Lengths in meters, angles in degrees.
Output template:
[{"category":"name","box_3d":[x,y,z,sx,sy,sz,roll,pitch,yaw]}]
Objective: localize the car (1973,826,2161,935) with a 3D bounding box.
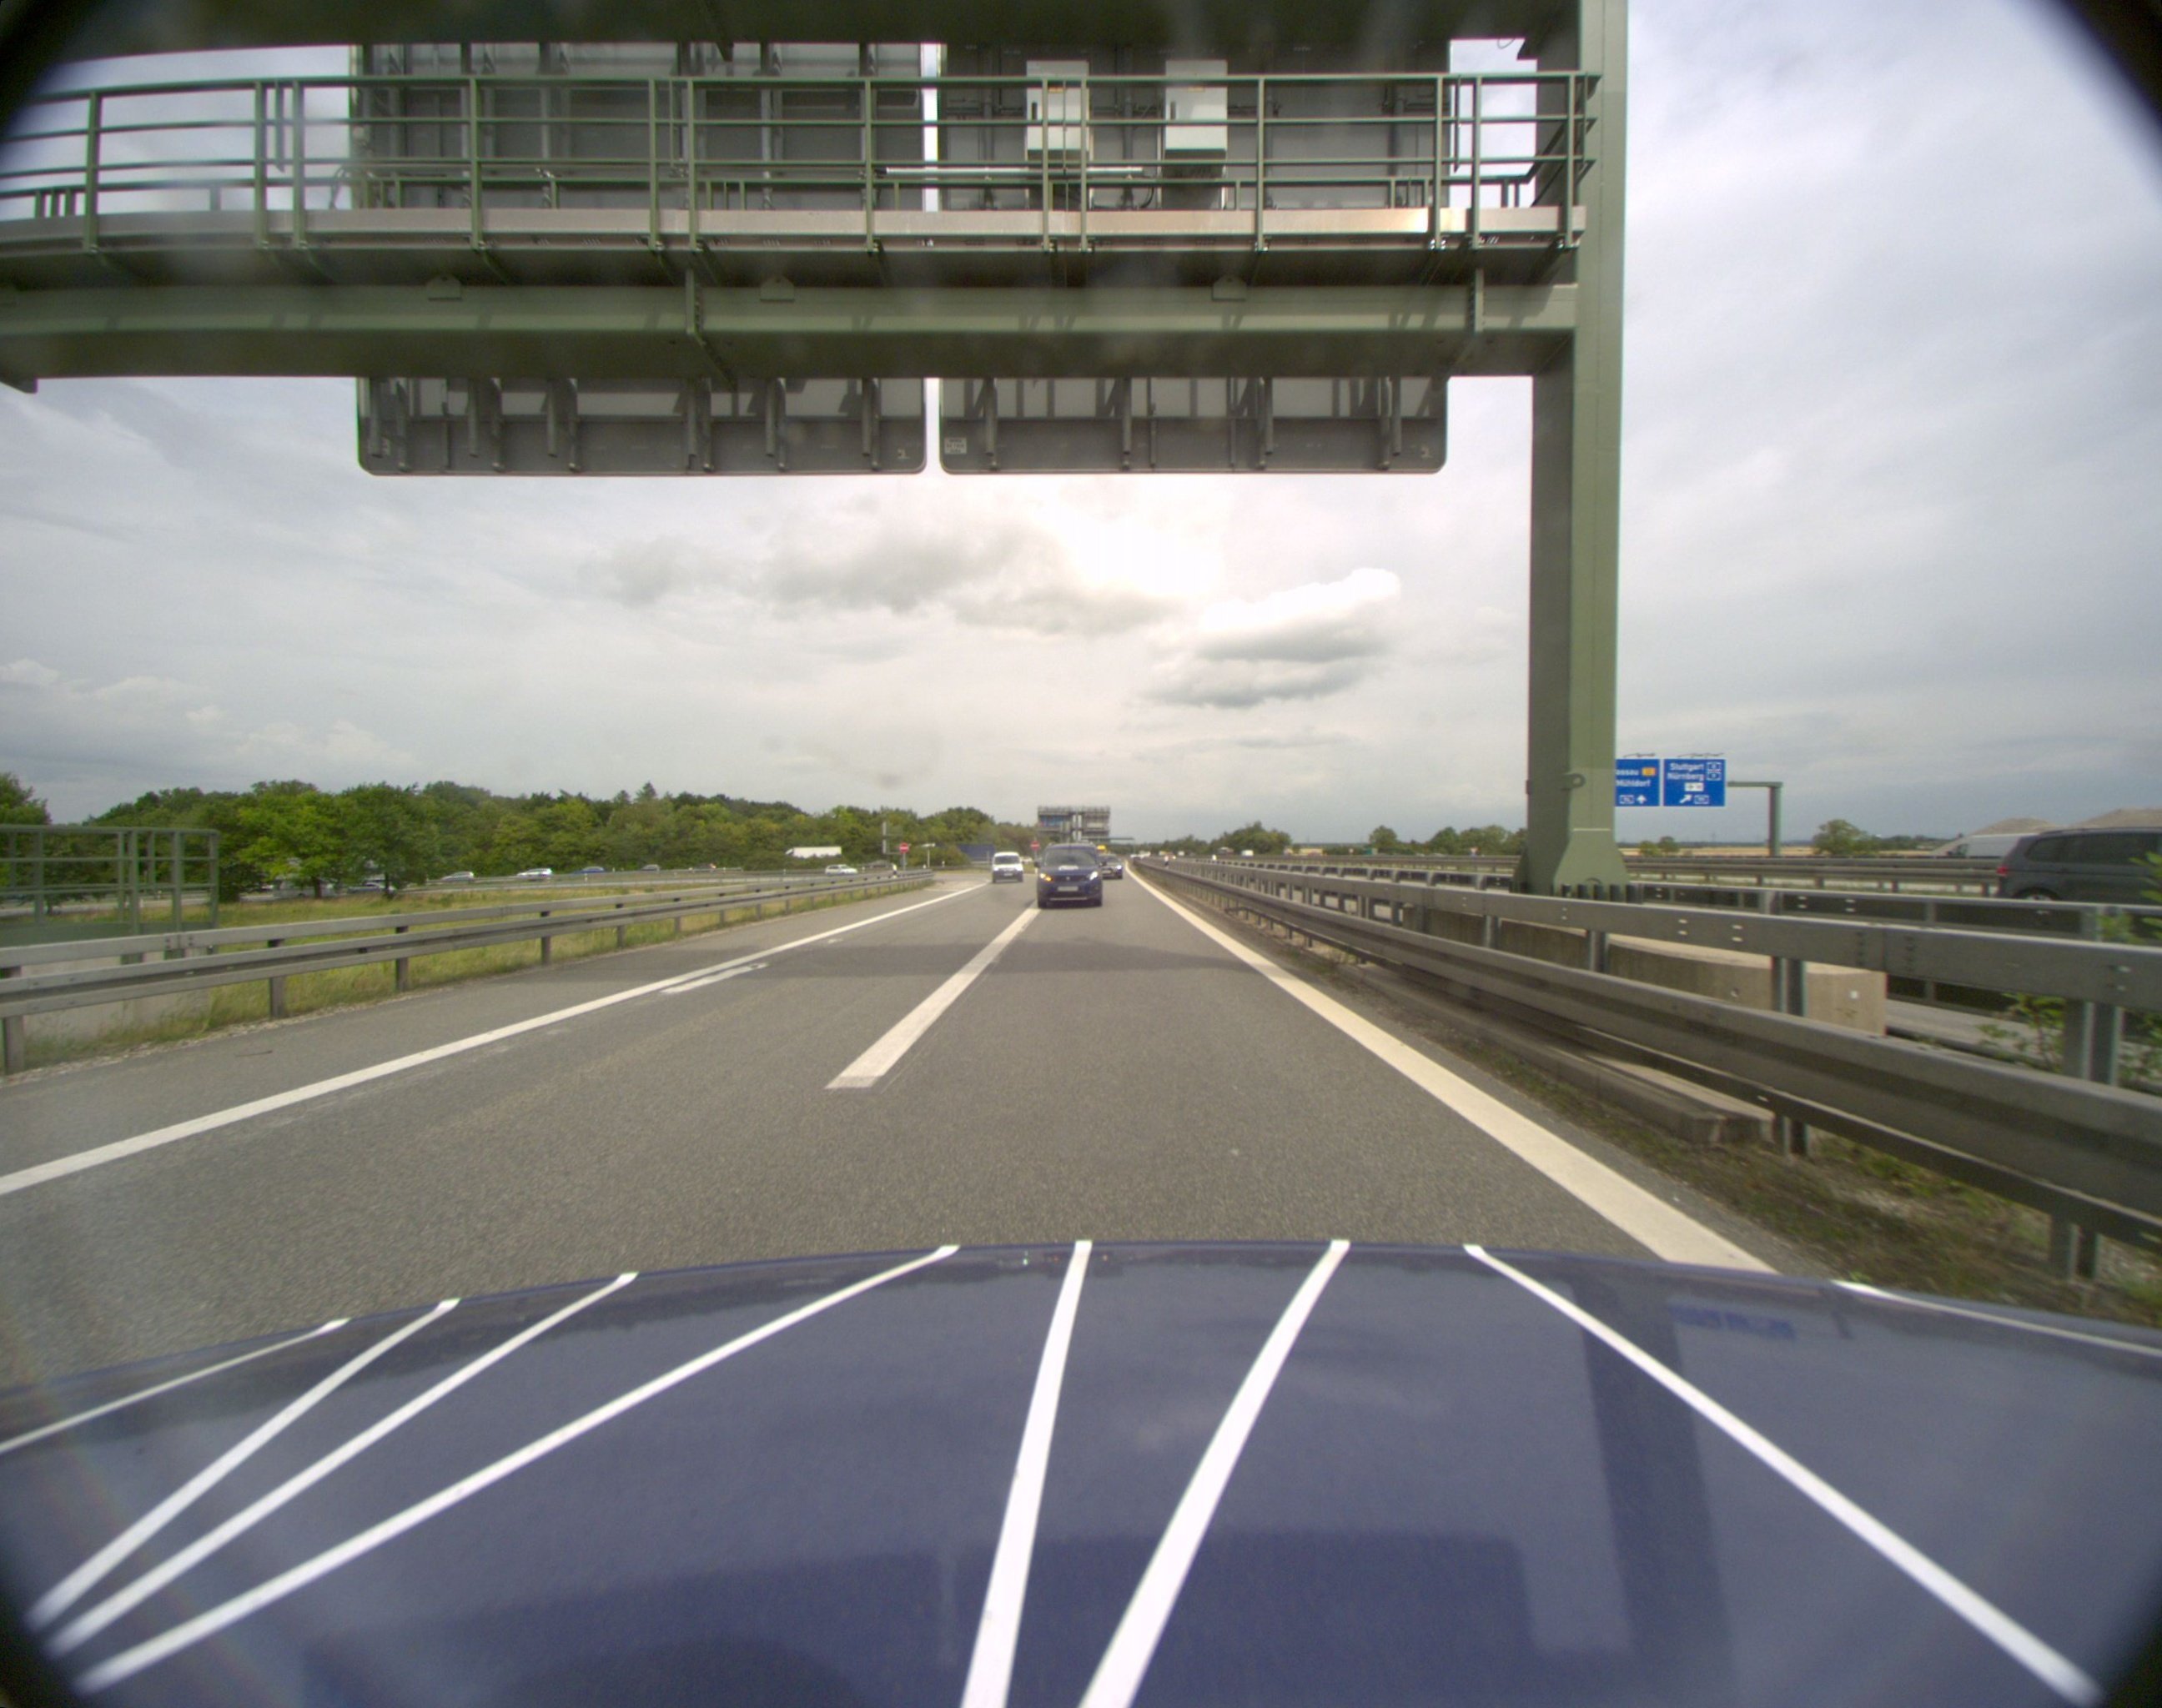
[{"category":"car","box_3d":[16.371,0.360,10.832,1.885,1.537,4.614,-2,1,0]}]

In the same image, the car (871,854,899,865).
[{"category":"car","box_3d":[-31.749,0.895,123.078,4.005,1.540,1.734,-2,1,-28]}]

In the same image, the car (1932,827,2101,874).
[{"category":"car","box_3d":[49.425,-0.196,40.381,2.201,2.210,5.517,-2,1,1]}]

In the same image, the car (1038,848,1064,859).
[{"category":"car","box_3d":[-6.058,-0.153,153.608,1.994,2.002,5.965,-2,1,34]}]

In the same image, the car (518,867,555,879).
[{"category":"car","box_3d":[-79.243,2.711,110.611,4.005,1.548,1.795,-2,1,-27]}]

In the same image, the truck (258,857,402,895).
[{"category":"truck","box_3d":[-97.898,2.761,99.494,13.036,4.218,2.689,-2,1,-32]}]

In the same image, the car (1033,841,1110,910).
[{"category":"car","box_3d":[-0.230,0.570,22.429,1.998,1.783,4.000,-2,1,1]}]

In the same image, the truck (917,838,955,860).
[{"category":"truck","box_3d":[-25.519,-0.889,133.949,5.939,3.780,2.894,-2,0,-43]}]

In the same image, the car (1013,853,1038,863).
[{"category":"car","box_3d":[-10.703,0.716,147.005,4.505,1.774,1.994,-3,1,-43]}]

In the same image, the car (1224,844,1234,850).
[{"category":"car","box_3d":[42.808,-2.014,219.526,1.831,1.849,3.998,-2,1,-3]}]

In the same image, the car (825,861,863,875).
[{"category":"car","box_3d":[-28.030,1.623,89.946,4.471,1.532,1.729,-2,1,32]}]

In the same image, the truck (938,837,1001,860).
[{"category":"truck","box_3d":[-20.270,-1.073,138.890,11.814,3.836,2.839,-3,1,-43]}]

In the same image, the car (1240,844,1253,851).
[{"category":"car","box_3d":[42.583,-1.648,195.447,2.106,1.849,4.749,-2,1,0]}]

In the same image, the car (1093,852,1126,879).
[{"category":"car","box_3d":[1.598,0.619,44.011,1.747,1.381,3.999,-2,2,1]}]

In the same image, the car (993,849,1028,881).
[{"category":"car","box_3d":[-4.133,0.603,44.857,1.862,1.735,3.998,-2,1,-3]}]

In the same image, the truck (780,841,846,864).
[{"category":"truck","box_3d":[-43.857,-0.206,124.247,9.886,3.383,2.690,-2,1,-23]}]
